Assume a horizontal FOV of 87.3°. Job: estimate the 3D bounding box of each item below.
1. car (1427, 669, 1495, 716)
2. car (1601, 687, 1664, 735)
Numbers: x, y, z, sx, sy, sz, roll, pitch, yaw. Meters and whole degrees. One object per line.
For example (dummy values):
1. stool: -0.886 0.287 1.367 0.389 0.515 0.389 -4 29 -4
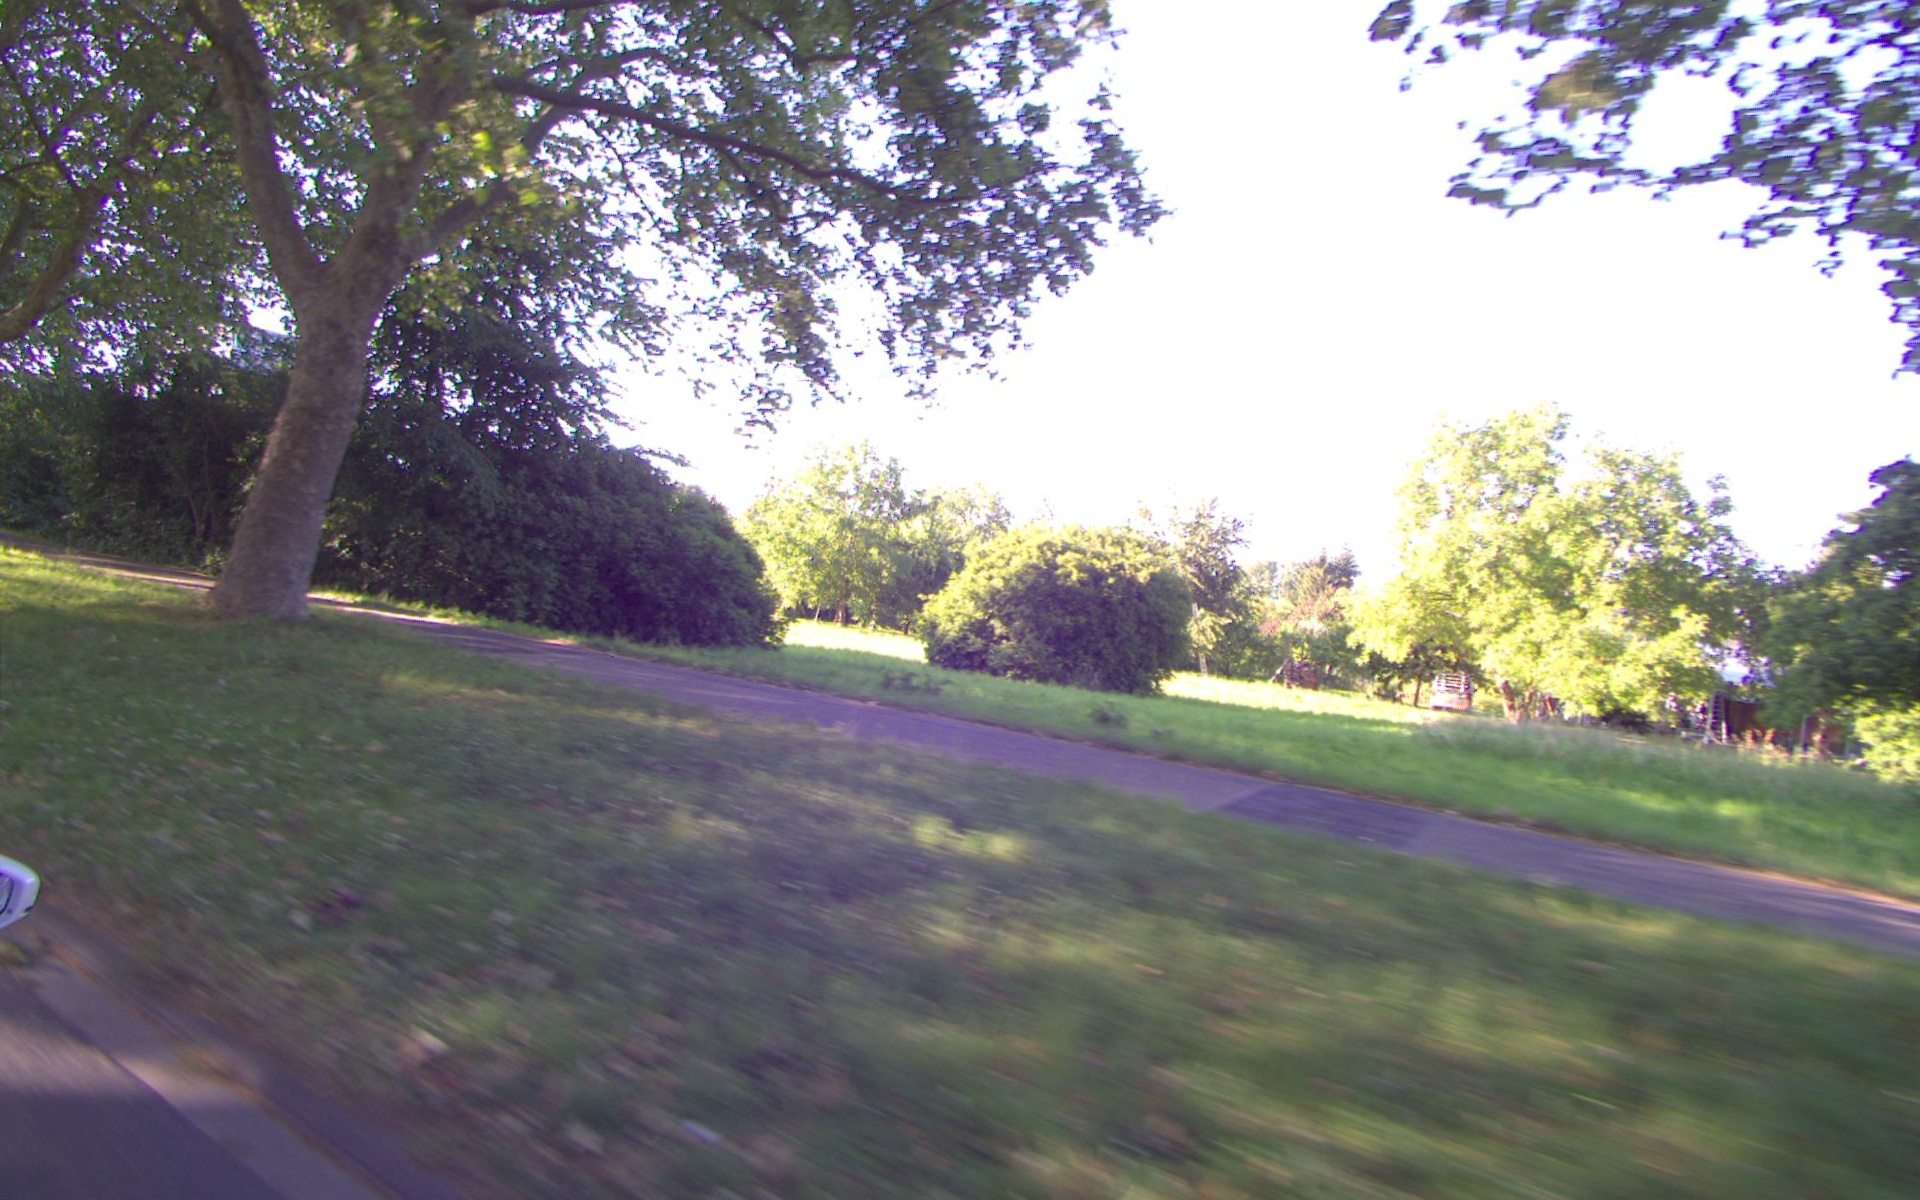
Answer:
1. car: 24.698 4.584 49.579 1.909 1.970 3.983 4 -3 42
2. car: 33.157 5.501 49.556 1.973 2.036 3.983 4 -3 42
